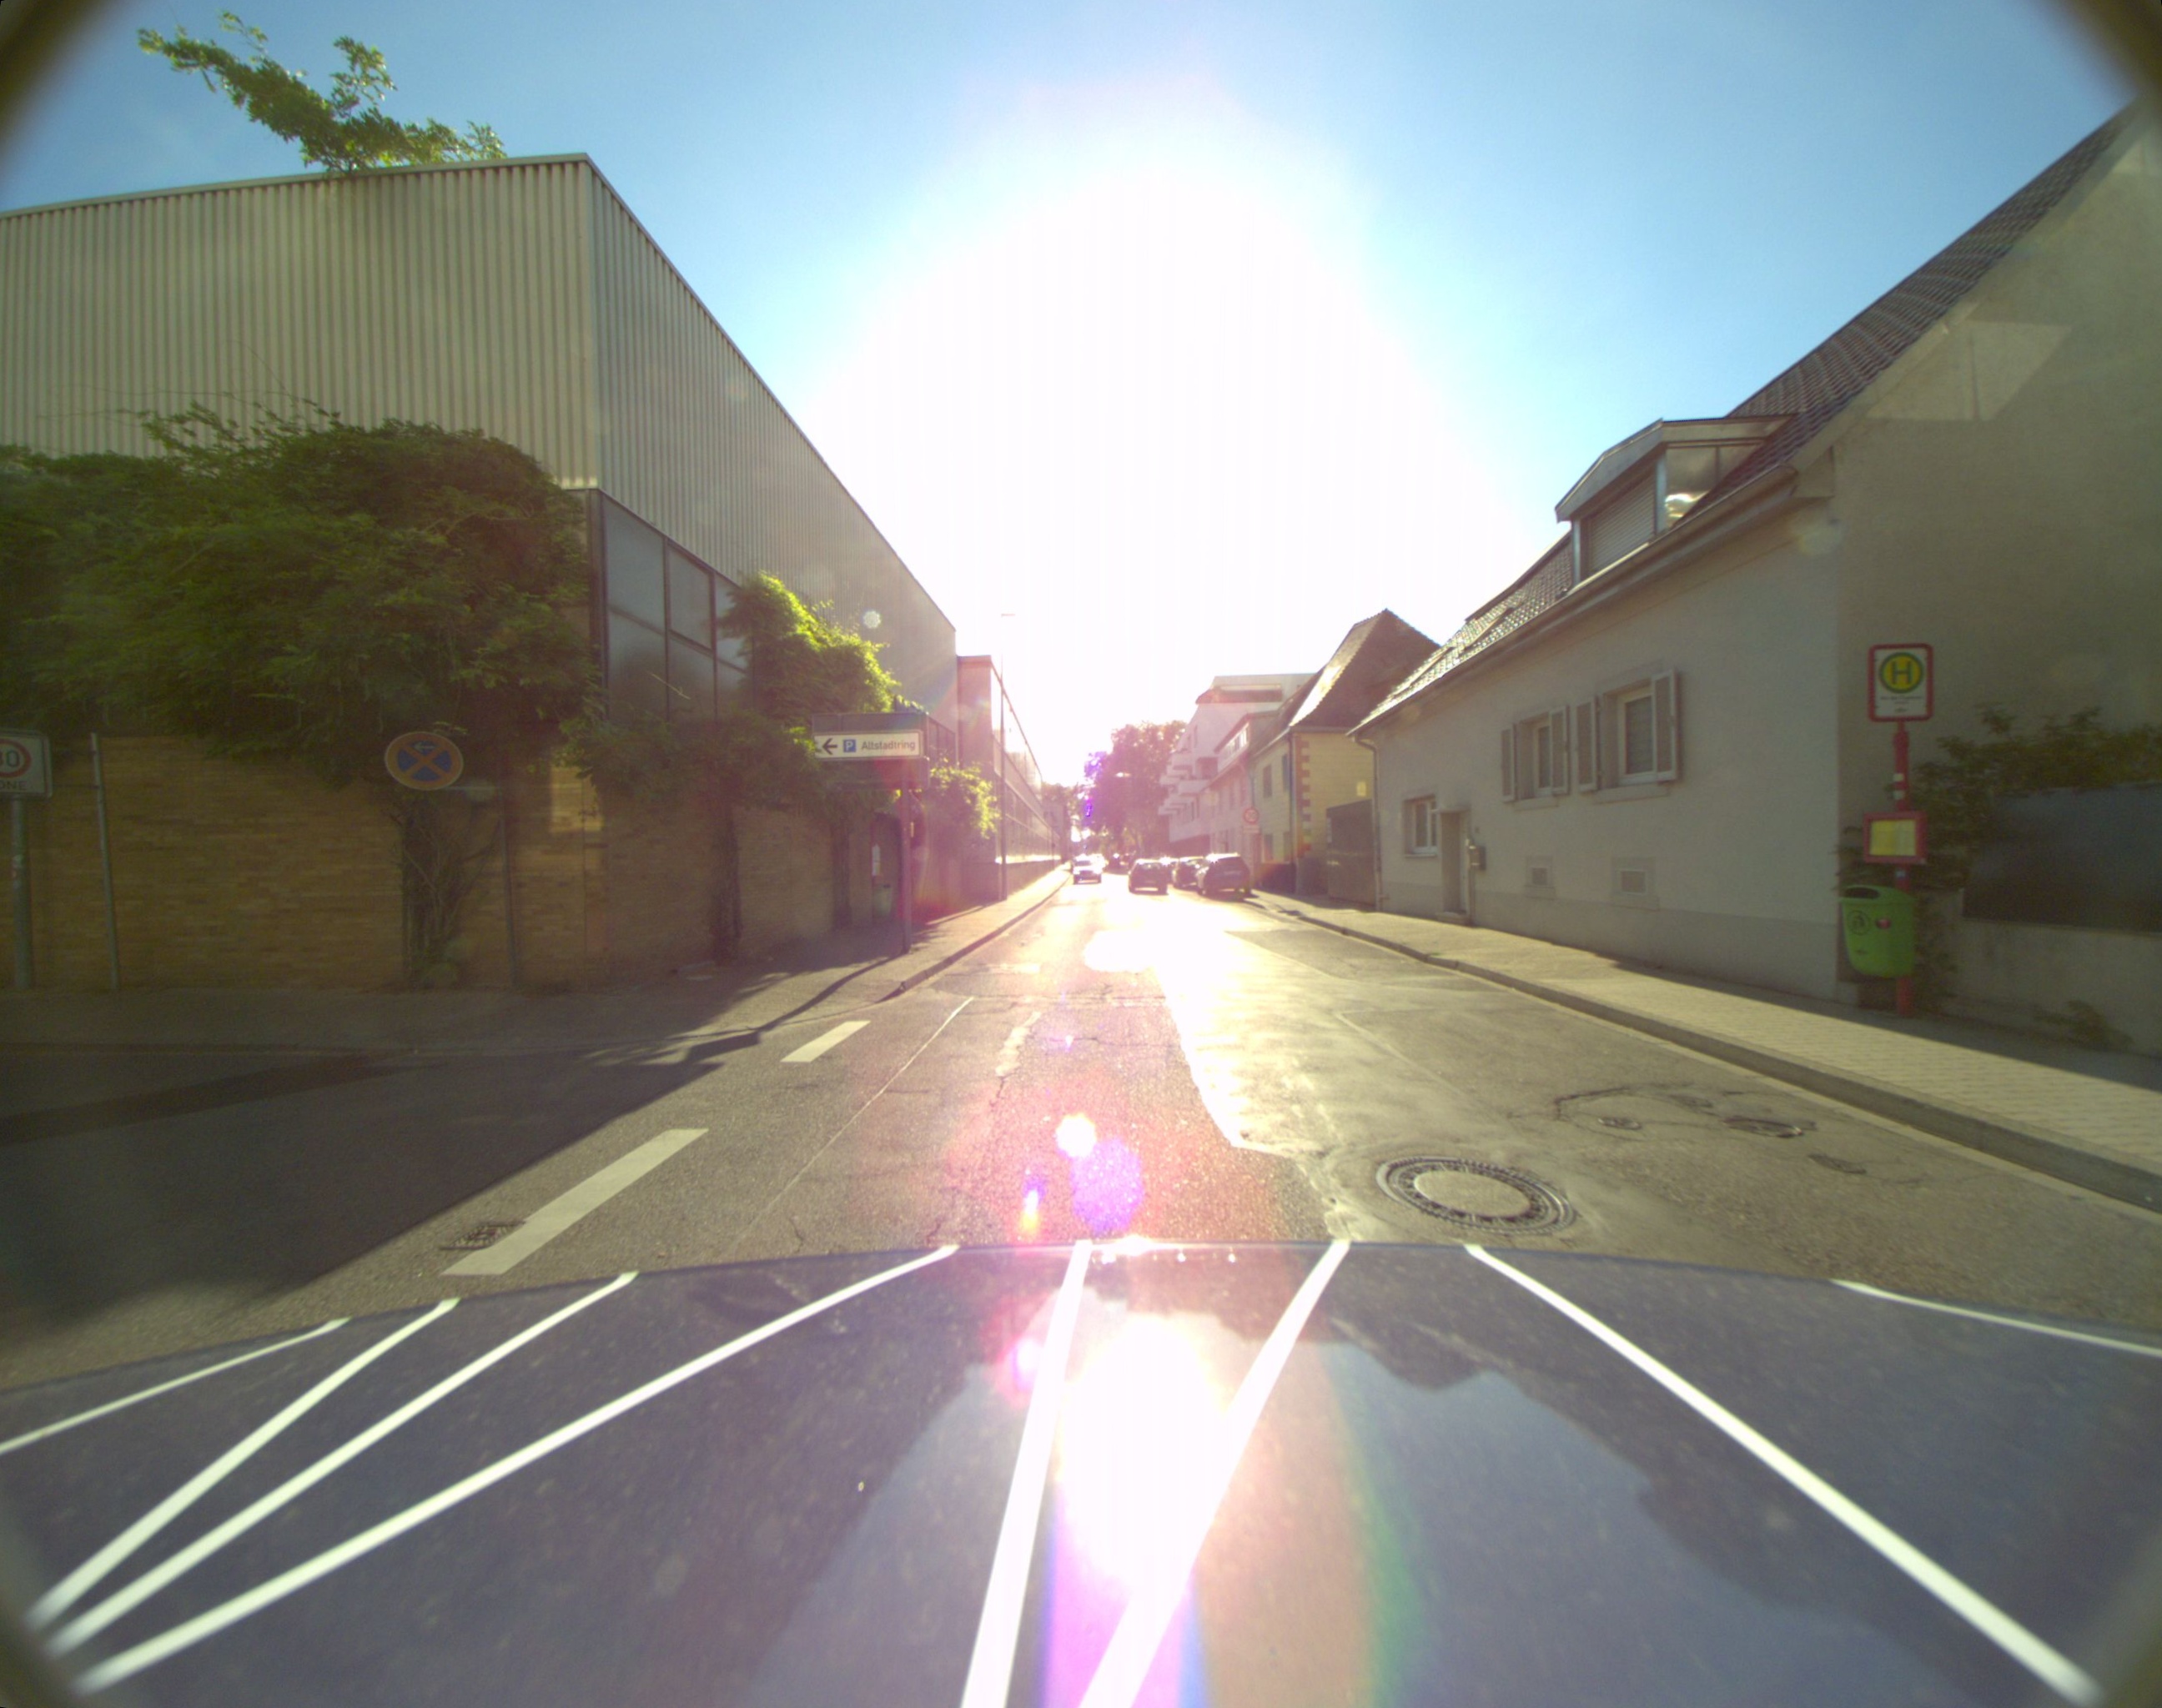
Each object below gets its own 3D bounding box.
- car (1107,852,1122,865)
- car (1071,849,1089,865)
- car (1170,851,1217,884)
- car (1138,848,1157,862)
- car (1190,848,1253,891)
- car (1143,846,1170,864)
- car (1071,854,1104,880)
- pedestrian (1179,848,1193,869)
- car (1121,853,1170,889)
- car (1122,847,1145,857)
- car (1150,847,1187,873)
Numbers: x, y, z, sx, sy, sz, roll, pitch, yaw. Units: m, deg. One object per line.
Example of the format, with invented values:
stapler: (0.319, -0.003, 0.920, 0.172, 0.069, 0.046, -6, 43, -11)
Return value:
car: (4.538, 0.583, 102.198, 1.846, 1.482, 4.144, 3, 1, 3)
car: (-0.100, 0.327, 85.497, 1.812, 1.578, 4.403, -3, 1, -1)
car: (5.844, 0.682, 39.977, 1.862, 1.577, 4.336, -3, 0, 2)
car: (7.361, 0.120, 84.331, 1.679, 1.425, 3.769, -3, 1, -1)
car: (5.701, 0.624, 31.266, 1.813, 1.577, 4.193, -3, -1, 1)
car: (7.177, 0.082, 72.759, 1.863, 1.578, 4.619, -3, 1, -2)
car: (0.386, 0.823, 50.251, 1.855, 1.527, 3.855, -3, 1, -2)
pedestrian: (9.599, 0.401, 69.281, 0.862, 1.808, 1.133, -5, 0, 25)
car: (2.914, 0.745, 35.378, 1.847, 1.482, 4.143, 0, 1, -1)
car: (10.246, -0.419, 148.727, 4.005, 1.876, 1.713, -3, 1, -26)
car: (5.694, 0.363, 49.877, 1.689, 1.526, 4.333, -3, 1, -3)
